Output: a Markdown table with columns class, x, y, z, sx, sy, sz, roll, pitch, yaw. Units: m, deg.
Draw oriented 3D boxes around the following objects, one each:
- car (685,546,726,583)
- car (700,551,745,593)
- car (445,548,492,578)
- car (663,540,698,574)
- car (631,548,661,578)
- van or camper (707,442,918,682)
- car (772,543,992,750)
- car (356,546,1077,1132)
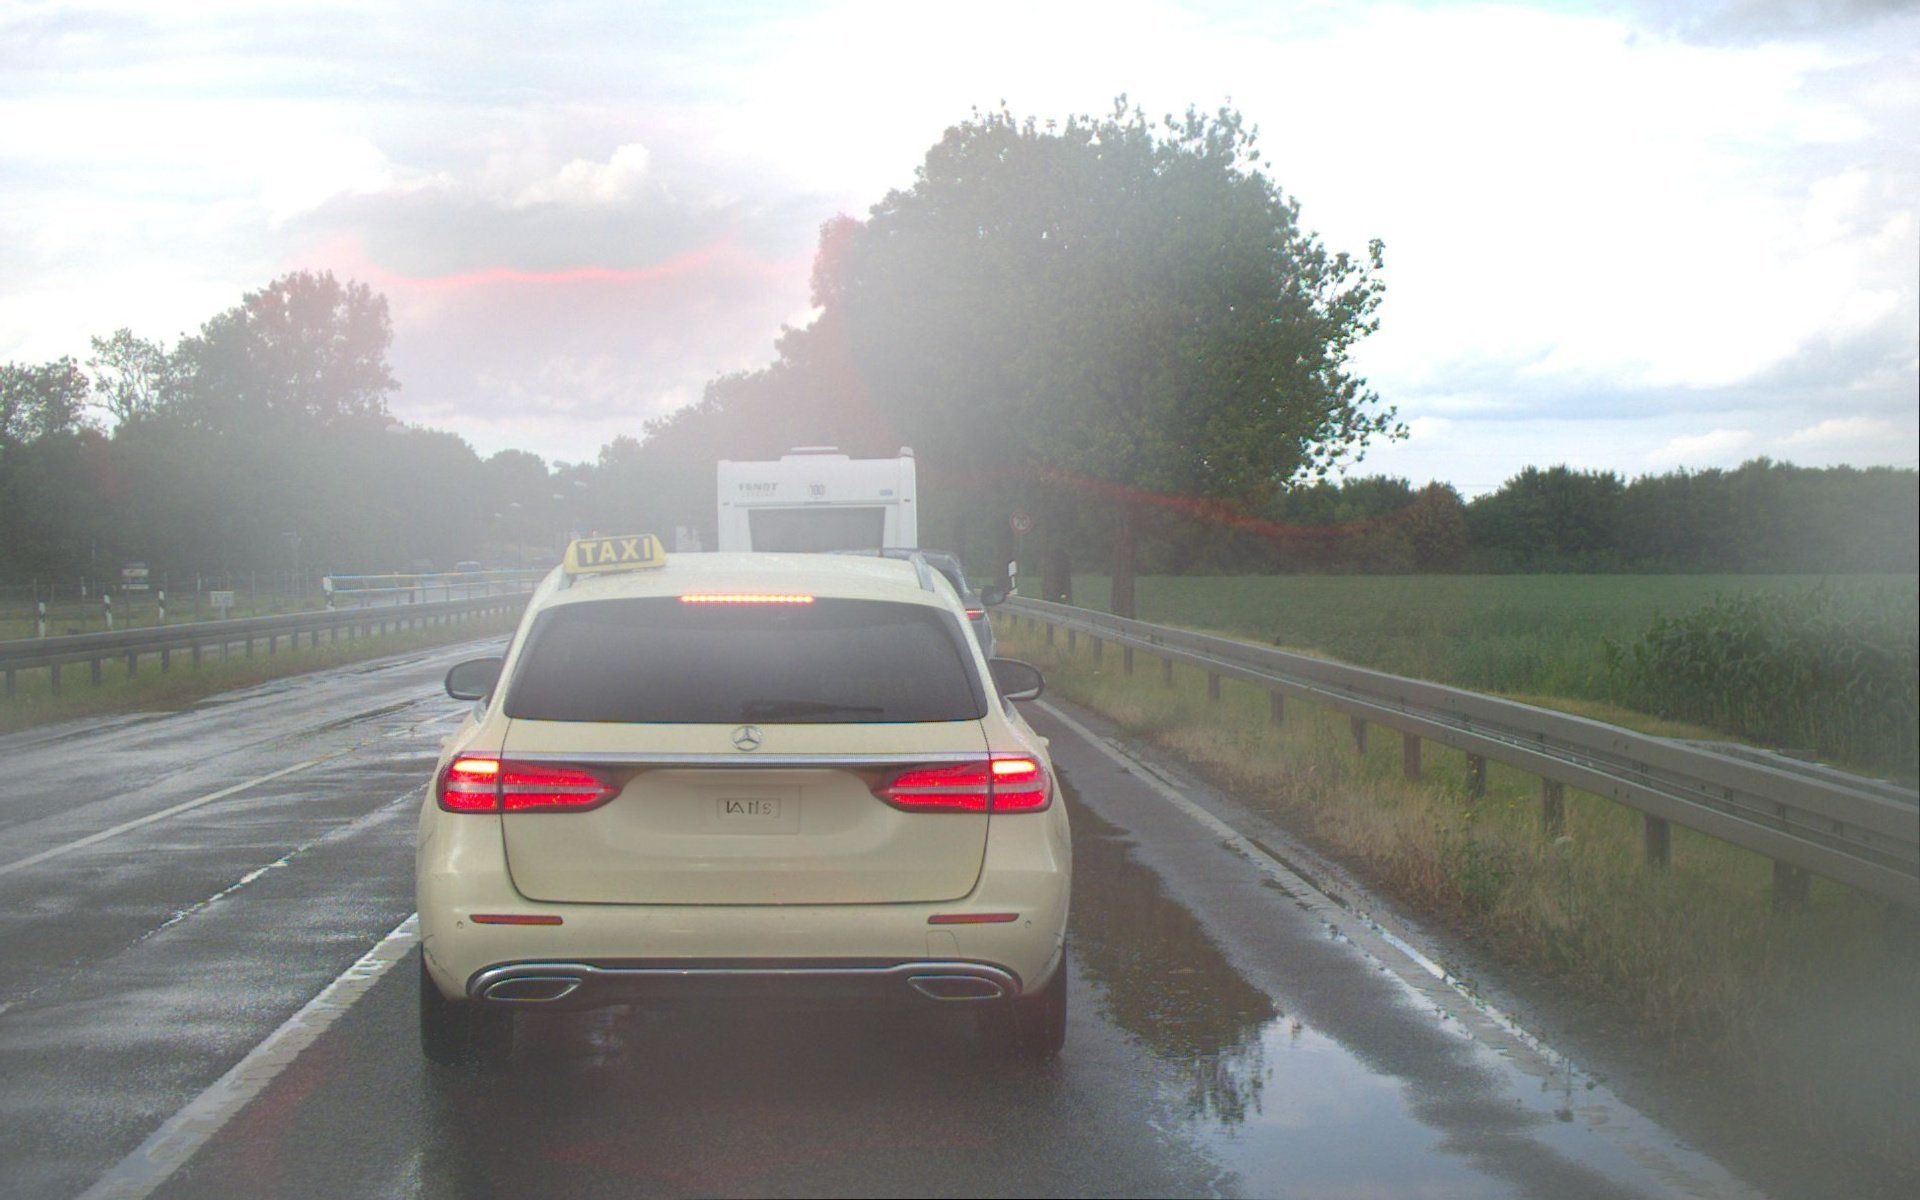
| class | x | y | z | sx | sy | sz | roll | pitch | yaw |
| --- | --- | --- | --- | --- | --- | --- | --- | --- | --- |
| car | -14.071 | -1.976 | 190.321 | 1.993 | 2.044 | 4.000 | 0 | 1 | -1 |
| car | -11.479 | -1.342 | 165.881 | 1.993 | 2.007 | 4.001 | 0 | 1 | -6 |
| car | -26.868 | -2.027 | 188.091 | 1.993 | 1.645 | 4.000 | 0 | 1 | 0 |
| car | -16.472 | -2.528 | 202.755 | 1.993 | 2.007 | 4.001 | 0 | 1 | -4 |
| car | -21.730 | -2.554 | 237.754 | 1.993 | 2.007 | 4.001 | 0 | 1 | -7 |
| van or camper | -1.726 | -0.489 | 41.387 | 2.350 | 2.671 | 5.769 | 0 | 1 | -2 |
| car | -0.631 | 0.316 | 27.588 | 1.627 | 1.524 | 3.933 | 0 | 1 | -2 |
| car | -0.637 | 0.582 | 10.829 | 1.825 | 1.480 | 4.145 | 0 | 1 | 0 |
